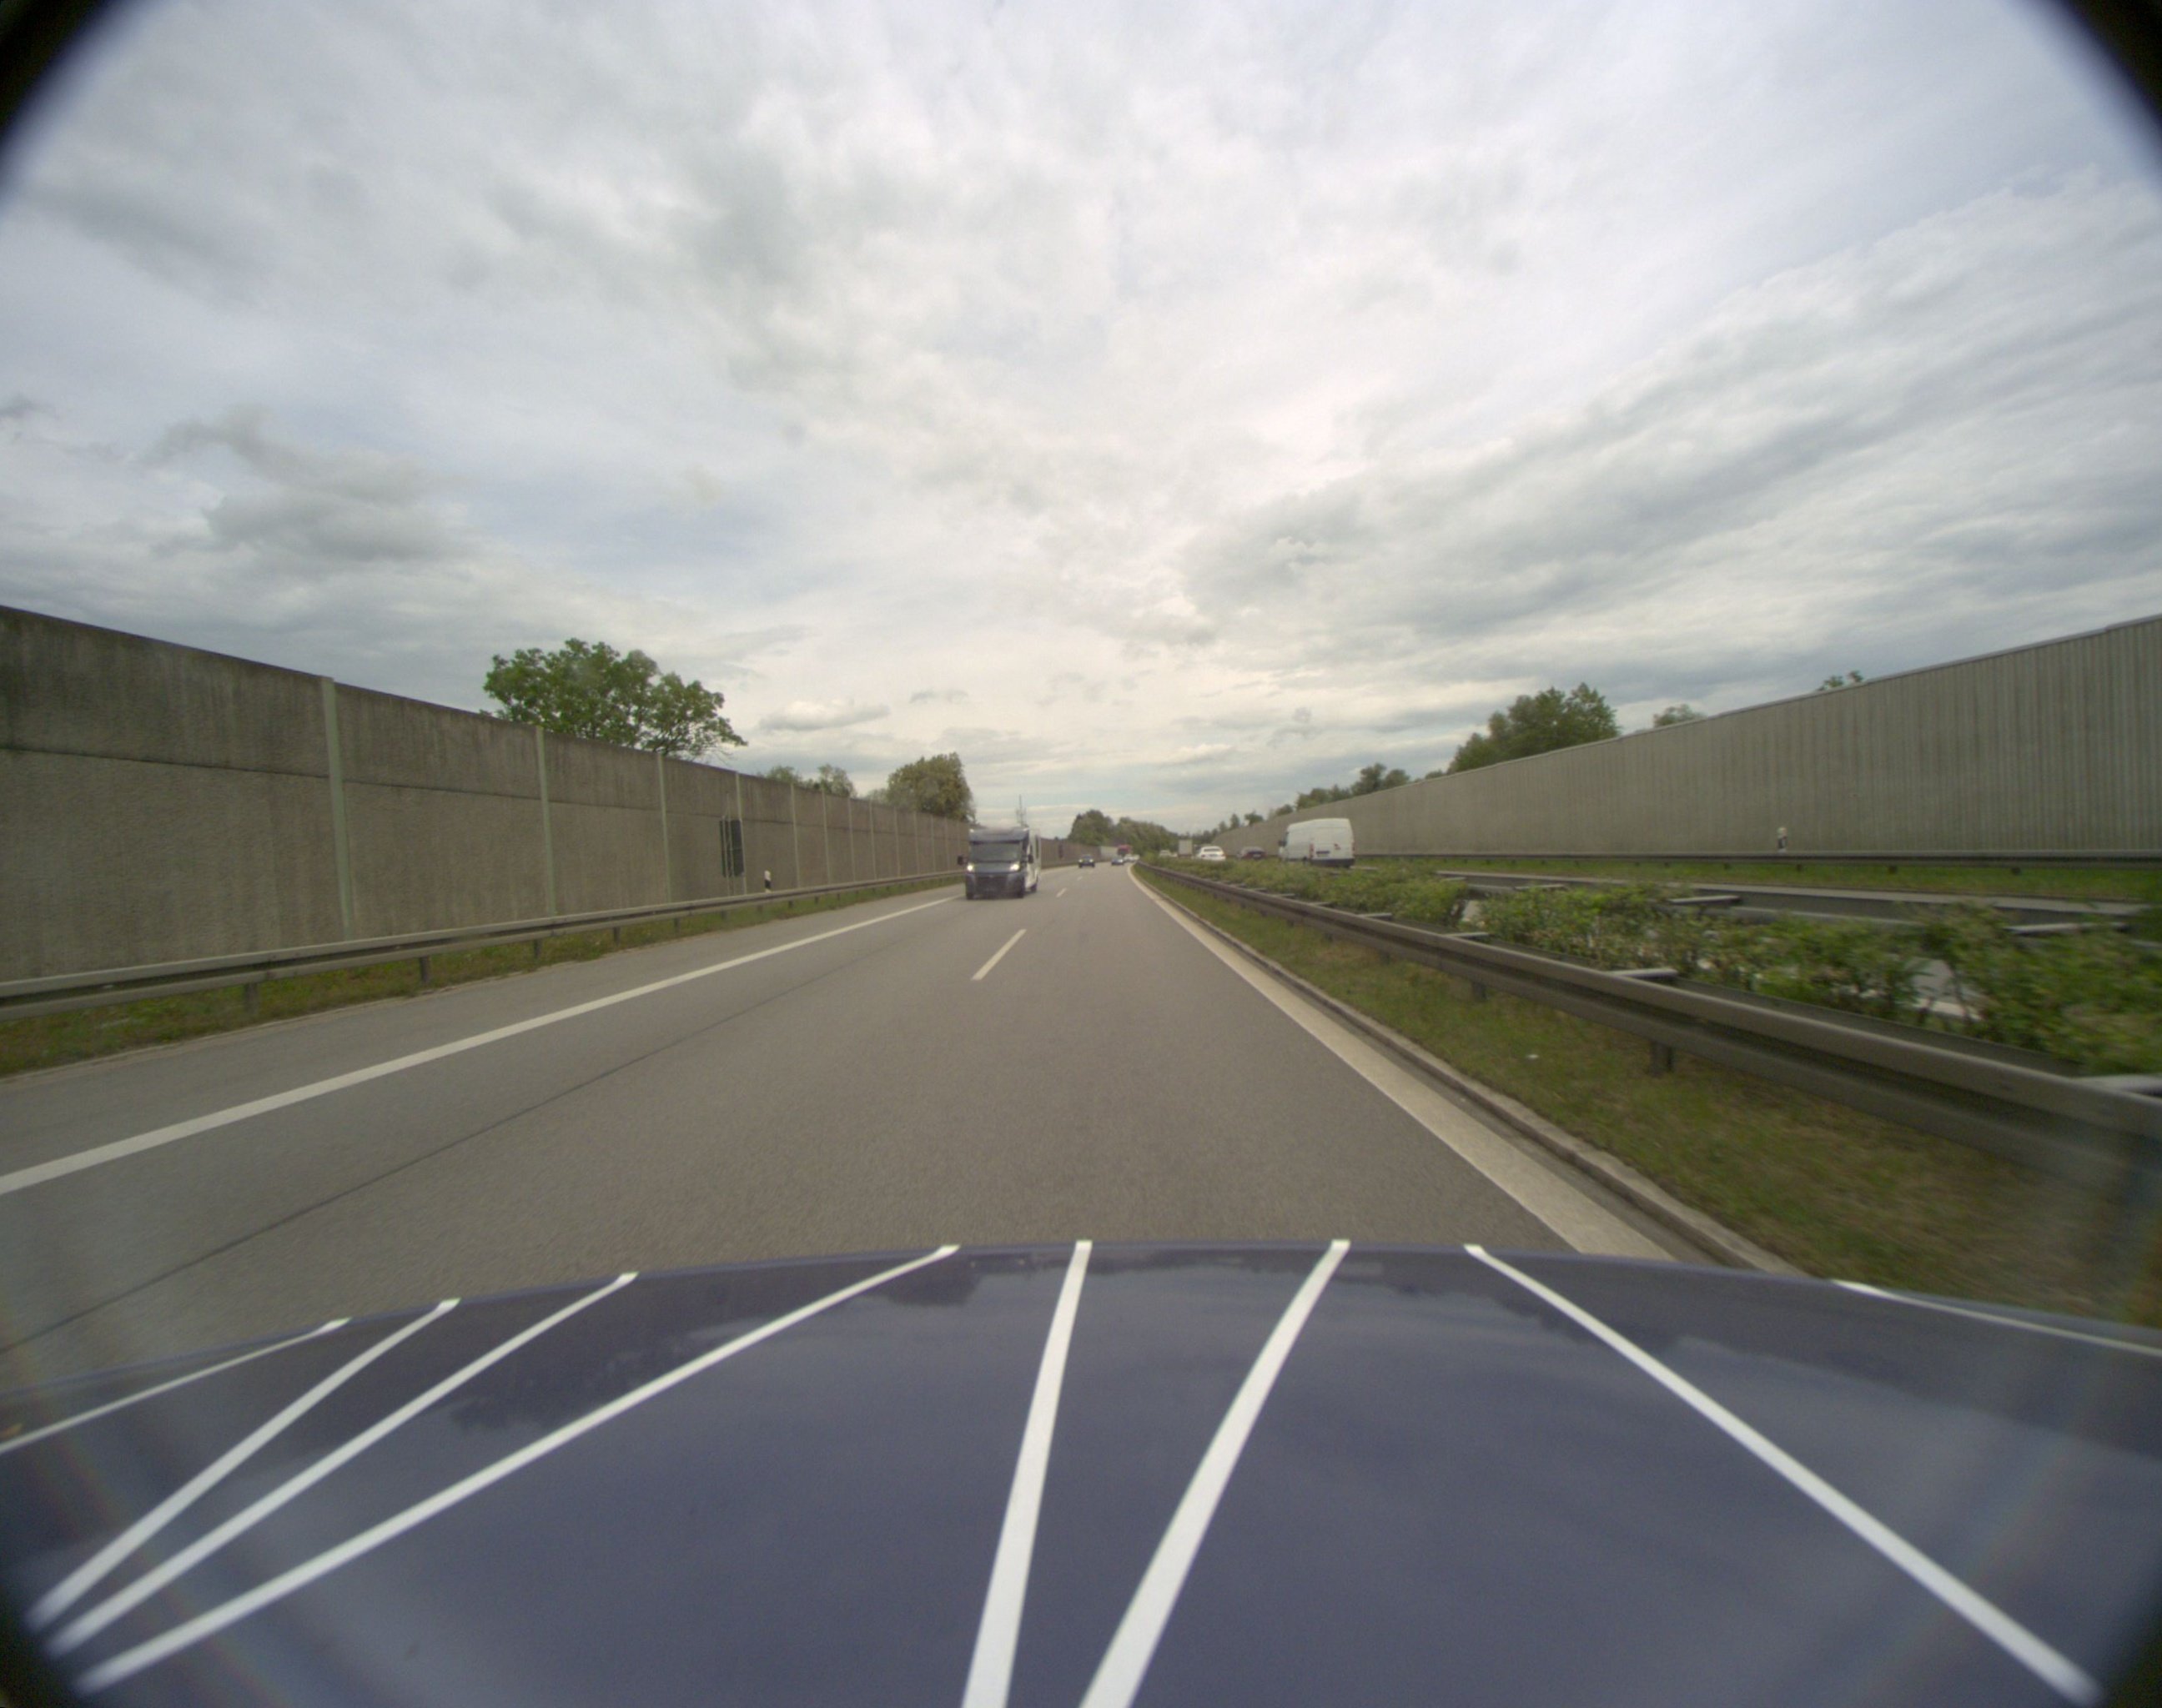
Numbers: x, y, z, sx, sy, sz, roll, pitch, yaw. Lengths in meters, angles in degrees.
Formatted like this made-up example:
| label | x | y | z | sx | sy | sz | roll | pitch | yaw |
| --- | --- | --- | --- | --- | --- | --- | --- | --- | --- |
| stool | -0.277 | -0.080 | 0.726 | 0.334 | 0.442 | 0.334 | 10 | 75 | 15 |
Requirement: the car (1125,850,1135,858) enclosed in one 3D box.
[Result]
| label | x | y | z | sx | sy | sz | roll | pitch | yaw |
| --- | --- | --- | --- | --- | --- | --- | --- | --- | --- |
| car | 9.819 | -0.042 | 152.930 | 1.889 | 1.608 | 4.001 | -1 | 0 | 5 |

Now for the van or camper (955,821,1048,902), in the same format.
| label | x | y | z | sx | sy | sz | roll | pitch | yaw |
| --- | --- | --- | --- | --- | --- | --- | --- | --- | --- |
| van or camper | -2.882 | 0.260 | 29.751 | 2.435 | 2.681 | 7.226 | -2 | 0 | 3 |

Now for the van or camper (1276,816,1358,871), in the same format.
| label | x | y | z | sx | sy | sz | roll | pitch | yaw |
| --- | --- | --- | --- | --- | --- | --- | --- | --- | --- |
| van or camper | 11.389 | -0.502 | 37.179 | 1.998 | 2.427 | 6.308 | -1 | 0 | 0 |

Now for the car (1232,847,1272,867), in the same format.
| label | x | y | z | sx | sy | sz | roll | pitch | yaw |
| --- | --- | --- | --- | --- | --- | --- | --- | --- | --- |
| car | 12.842 | 0.205 | 57.367 | 1.998 | 1.356 | 4.968 | -3 | 0 | 2 |

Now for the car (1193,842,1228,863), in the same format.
| label | x | y | z | sx | sy | sz | roll | pitch | yaw |
| --- | --- | --- | --- | --- | --- | --- | --- | --- | --- |
| car | 9.454 | -0.120 | 55.733 | 1.810 | 1.406 | 4.968 | -3 | 0 | 2 |

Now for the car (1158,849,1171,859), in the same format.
| label | x | y | z | sx | sy | sz | roll | pitch | yaw |
| --- | --- | --- | --- | --- | --- | --- | --- | --- | --- |
| car | 14.017 | -0.008 | 127.880 | 1.968 | 1.660 | 4.925 | -3 | 0 | 3 |

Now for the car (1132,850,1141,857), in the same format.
| label | x | y | z | sx | sy | sz | roll | pitch | yaw |
| --- | --- | --- | --- | --- | --- | --- | --- | --- | --- |
| car | 13.408 | -0.070 | 183.785 | 1.888 | 1.608 | 4.002 | -1 | 0 | 6 |

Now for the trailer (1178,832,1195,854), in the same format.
| label | x | y | z | sx | sy | sz | roll | pitch | yaw |
| --- | --- | --- | --- | --- | --- | --- | --- | --- | --- |
| trailer | 21.933 | -2.179 | 158.614 | 2.987 | 4.215 | 14.185 | -2 | 0 | 7 |

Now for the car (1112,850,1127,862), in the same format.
| label | x | y | z | sx | sy | sz | roll | pitch | yaw |
| --- | --- | --- | --- | --- | --- | --- | --- | --- | --- |
| car | 5.530 | 0.291 | 107.994 | 1.889 | 1.608 | 4.001 | -1 | 0 | 5 |

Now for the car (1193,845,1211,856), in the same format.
| label | x | y | z | sx | sy | sz | roll | pitch | yaw |
| --- | --- | --- | --- | --- | --- | --- | --- | --- | --- |
| car | 15.461 | -0.465 | 97.411 | 1.726 | 1.409 | 4.555 | -2 | 0 | 3 |

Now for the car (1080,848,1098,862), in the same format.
| label | x | y | z | sx | sy | sz | roll | pitch | yaw |
| --- | --- | --- | --- | --- | --- | --- | --- | --- | --- |
| car | 0.977 | 0.069 | 91.239 | 1.889 | 1.608 | 4.001 | -1 | 0 | 4 |

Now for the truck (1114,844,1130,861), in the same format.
| label | x | y | z | sx | sy | sz | roll | pitch | yaw |
| --- | --- | --- | --- | --- | --- | --- | --- | --- | --- |
| truck | 10.562 | -0.487 | 193.353 | 2.932 | 4.068 | 11.349 | -2 | 0 | 8 |

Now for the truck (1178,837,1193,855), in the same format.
| label | x | y | z | sx | sy | sz | roll | pitch | yaw |
| --- | --- | --- | --- | --- | --- | --- | --- | --- | --- |
| truck | 22.720 | -1.741 | 165.252 | 2.879 | 3.836 | 6.077 | -2 | 0 | 7 |
